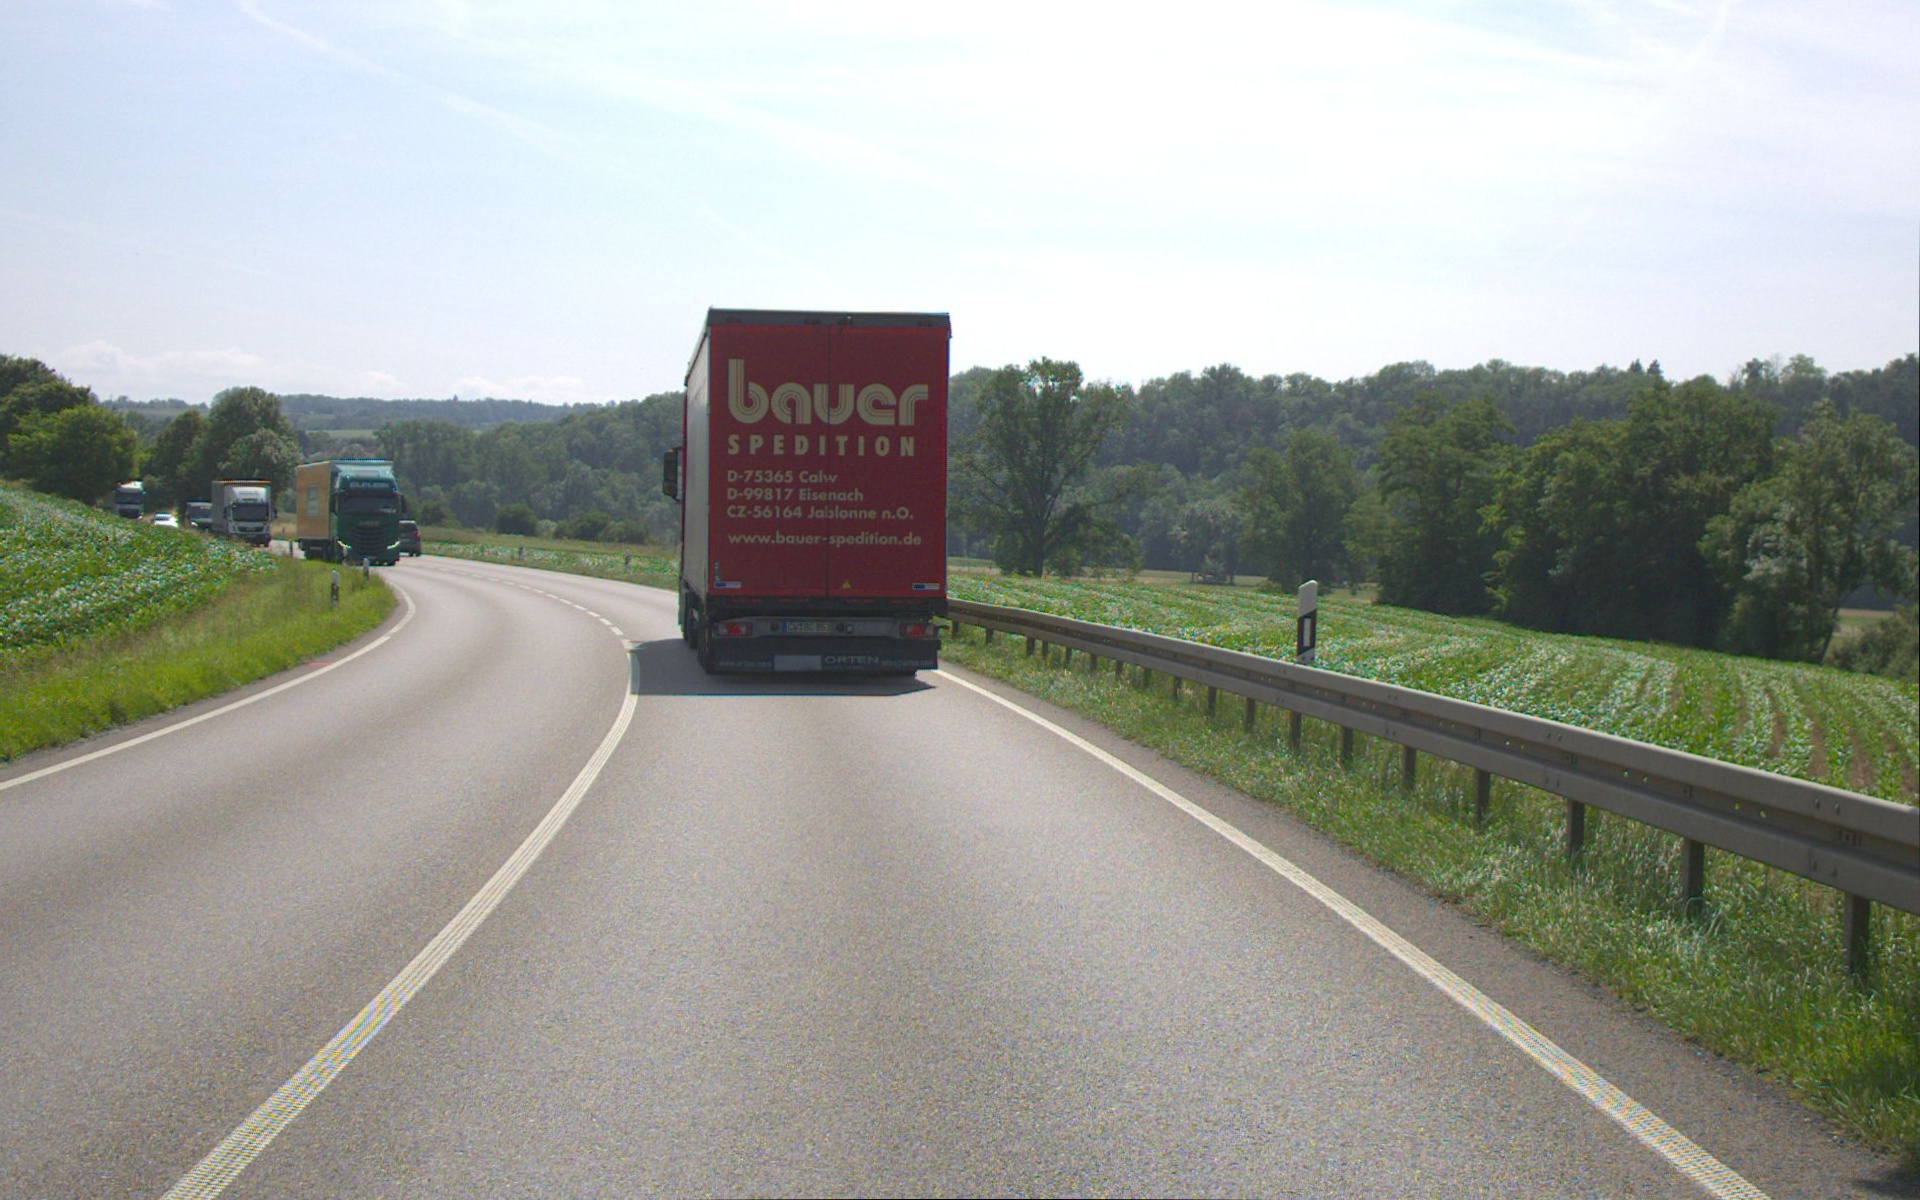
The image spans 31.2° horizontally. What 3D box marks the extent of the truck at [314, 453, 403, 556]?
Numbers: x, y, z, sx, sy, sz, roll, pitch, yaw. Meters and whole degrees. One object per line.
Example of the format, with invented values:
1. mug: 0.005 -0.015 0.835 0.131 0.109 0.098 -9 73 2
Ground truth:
1. truck: -25.130 -3.965 143.052 2.770 3.984 17.033 1 1 -13

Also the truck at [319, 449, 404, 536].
1. truck: -31.370 -5.547 179.887 3.639 4.277 11.989 0 1 -13

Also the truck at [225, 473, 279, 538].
1. truck: -39.865 -5.311 193.291 2.740 3.566 9.730 1 1 -13

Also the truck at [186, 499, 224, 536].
1. truck: -48.084 -5.245 218.781 2.009 2.312 5.193 0 1 -16

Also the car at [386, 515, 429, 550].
1. car: -25.672 -3.146 159.714 1.581 1.496 3.878 1 1 -14

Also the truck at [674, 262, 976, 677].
1. truck: -1.723 -1.411 39.556 3.094 4.248 8.316 0 1 -5

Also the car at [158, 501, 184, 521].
1. car: -58.404 -6.561 254.335 1.727 1.435 4.178 0 2 -15
